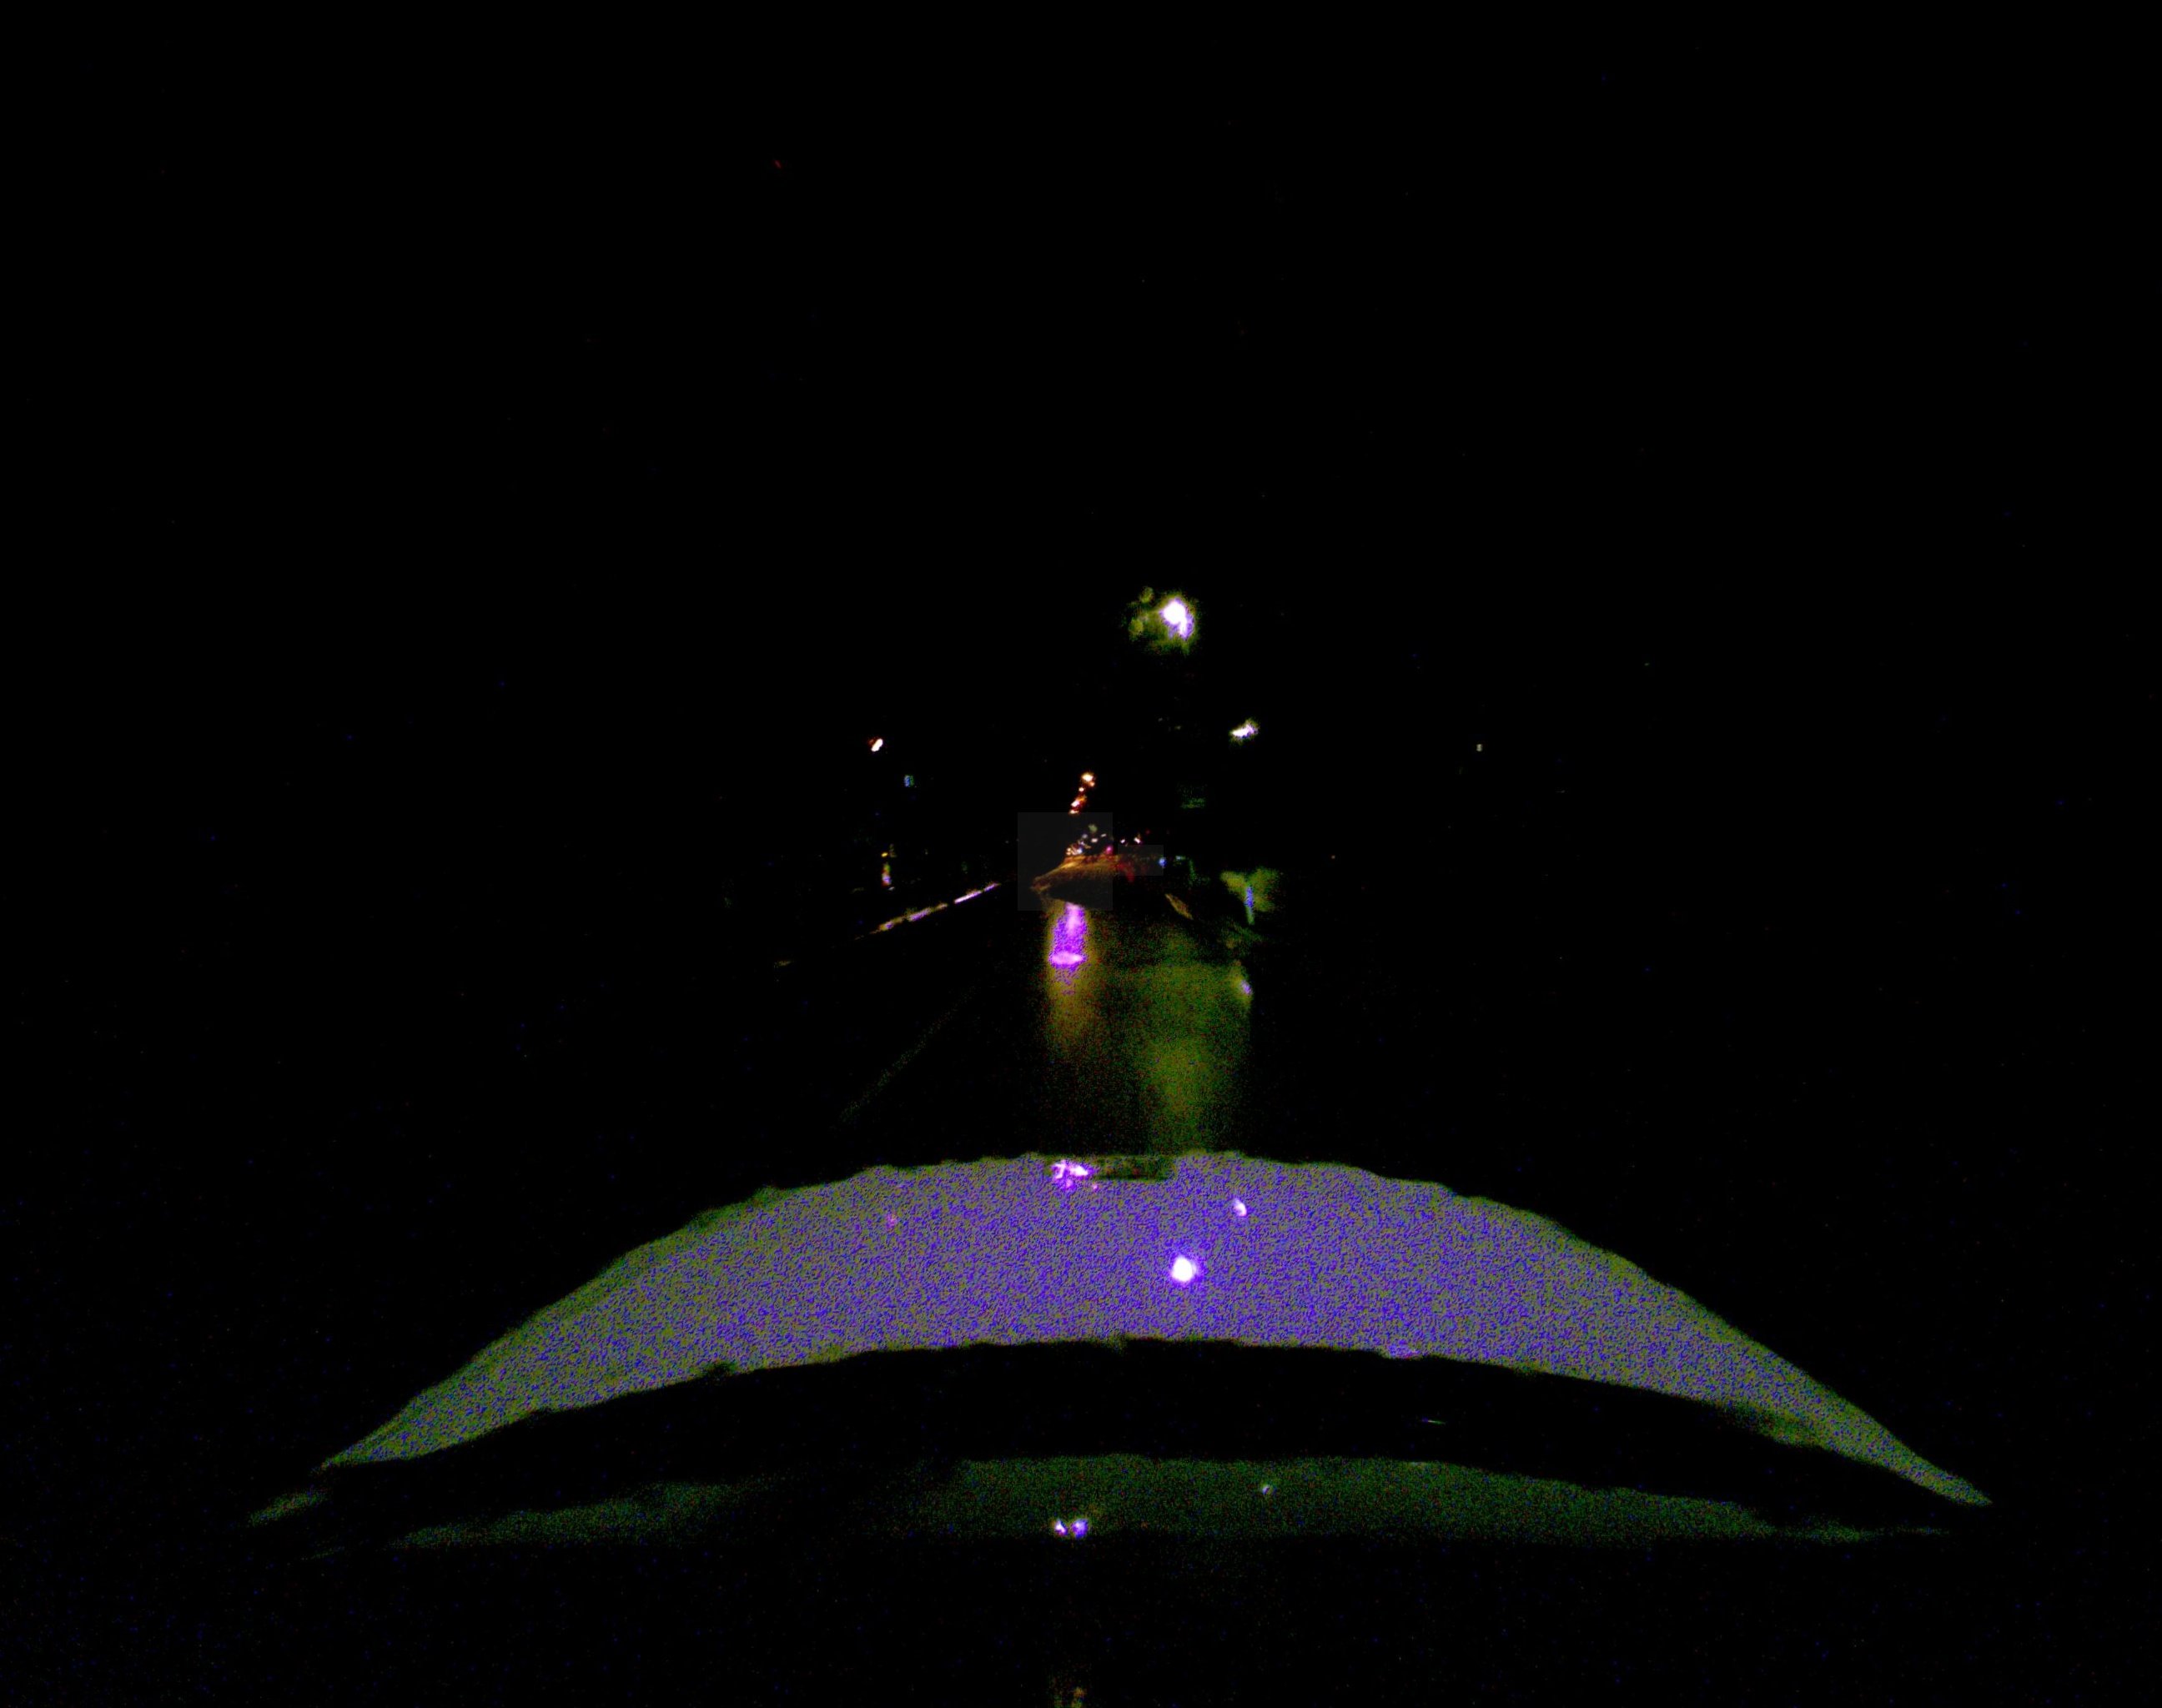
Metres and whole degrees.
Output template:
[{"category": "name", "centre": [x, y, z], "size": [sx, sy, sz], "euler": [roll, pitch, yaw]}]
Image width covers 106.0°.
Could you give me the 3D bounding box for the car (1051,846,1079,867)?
[{"category": "car", "centre": [-1.188, 0.170, 61.200], "size": [1.738, 1.433, 4.003], "euler": [-3, 0, 3]}]

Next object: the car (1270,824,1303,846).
[{"category": "car", "centre": [15.157, -1.391, 60.156], "size": [1.557, 1.469, 3.409], "euler": [-3, 1, 1]}]

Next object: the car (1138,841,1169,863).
[{"category": "car", "centre": [5.345, -0.155, 60.309], "size": [1.708, 1.488, 4.434], "euler": [-4, 1, -1]}]

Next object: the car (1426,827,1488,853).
[{"category": "car", "centre": [22.356, -0.839, 48.617], "size": [1.819, 1.467, 4.261], "euler": [-1, 1, 2]}]

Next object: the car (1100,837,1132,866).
[{"category": "car", "centre": [2.294, -0.179, 53.940], "size": [1.986, 1.683, 4.003], "euler": [-2, 2, 2]}]

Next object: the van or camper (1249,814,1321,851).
[{"category": "van or camper", "centre": [15.978, -1.697, 63.968], "size": [5.042, 2.526, 2.173], "euler": [-3, 1, 2]}]

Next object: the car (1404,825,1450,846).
[{"category": "car", "centre": [25.335, -1.348, 59.795], "size": [1.672, 1.413, 4.264], "euler": [-3, 1, 3]}]

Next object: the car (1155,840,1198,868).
[{"category": "car", "centre": [5.715, -0.048, 49.224], "size": [1.785, 1.449, 4.788], "euler": [-5, 1, -1]}]
